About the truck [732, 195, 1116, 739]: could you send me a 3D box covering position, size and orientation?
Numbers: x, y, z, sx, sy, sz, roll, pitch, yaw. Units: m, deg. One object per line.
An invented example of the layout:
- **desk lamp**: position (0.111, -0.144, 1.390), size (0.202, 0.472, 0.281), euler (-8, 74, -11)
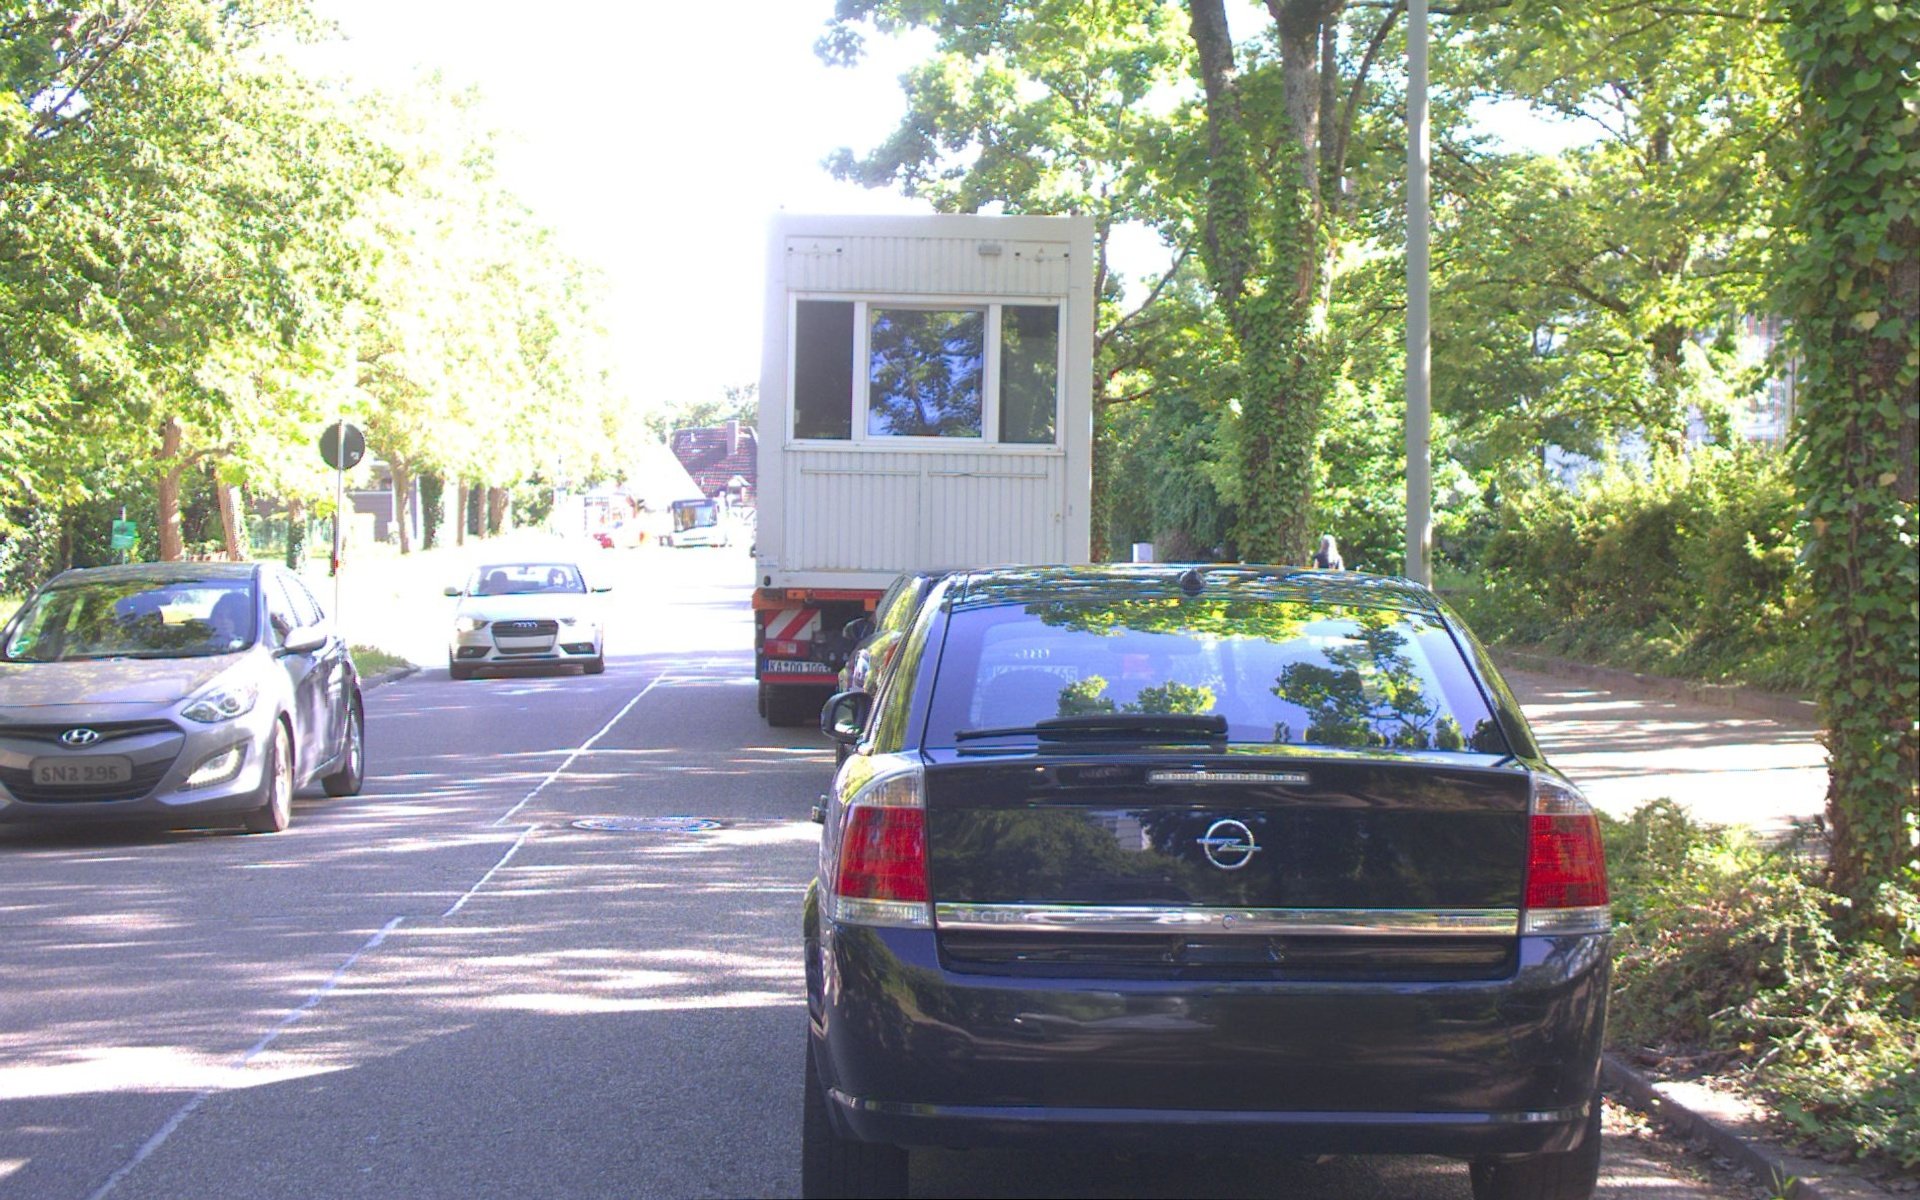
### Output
- **truck**: position (-0.551, -1.100, 30.750), size (2.772, 3.982, 10.350), euler (1, 1, -3)

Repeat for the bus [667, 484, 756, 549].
- **bus**: position (-13.354, -4.503, 185.347), size (4.065, 3.337, 9.801), euler (-1, 1, 0)

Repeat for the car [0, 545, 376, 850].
- **car**: position (-4.458, 0.460, 19.291), size (1.755, 1.449, 4.243), euler (-1, 2, -2)

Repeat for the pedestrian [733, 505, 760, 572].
- **pedestrian**: position (-6.814, -1.977, 109.751), size (0.752, 2.106, 0.799), euler (2, 1, 0)

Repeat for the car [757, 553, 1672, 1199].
- **car**: position (0.463, 0.637, 8.637), size (1.748, 1.475, 4.031), euler (1, 1, -1)

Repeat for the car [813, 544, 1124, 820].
- **car**: position (0.033, 0.411, 20.597), size (1.640, 1.415, 4.000), euler (-2, 1, 0)

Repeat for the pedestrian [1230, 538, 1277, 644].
- **pedestrian**: position (4.523, -0.140, 53.056), size (0.598, 1.605, 0.600), euler (-1, 1, -5)

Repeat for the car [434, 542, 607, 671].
- **car**: position (-5.276, 0.038, 41.666), size (1.786, 1.412, 4.105), euler (-1, 2, -4)

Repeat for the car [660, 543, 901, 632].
- **car**: position (-3.118, -0.207, 59.262), size (3.955, 1.415, 1.807), euler (-1, 2, 40)

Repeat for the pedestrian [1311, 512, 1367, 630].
- **pedestrian**: position (5.857, -0.454, 53.144), size (0.698, 1.806, 0.700), euler (-1, 1, -5)
